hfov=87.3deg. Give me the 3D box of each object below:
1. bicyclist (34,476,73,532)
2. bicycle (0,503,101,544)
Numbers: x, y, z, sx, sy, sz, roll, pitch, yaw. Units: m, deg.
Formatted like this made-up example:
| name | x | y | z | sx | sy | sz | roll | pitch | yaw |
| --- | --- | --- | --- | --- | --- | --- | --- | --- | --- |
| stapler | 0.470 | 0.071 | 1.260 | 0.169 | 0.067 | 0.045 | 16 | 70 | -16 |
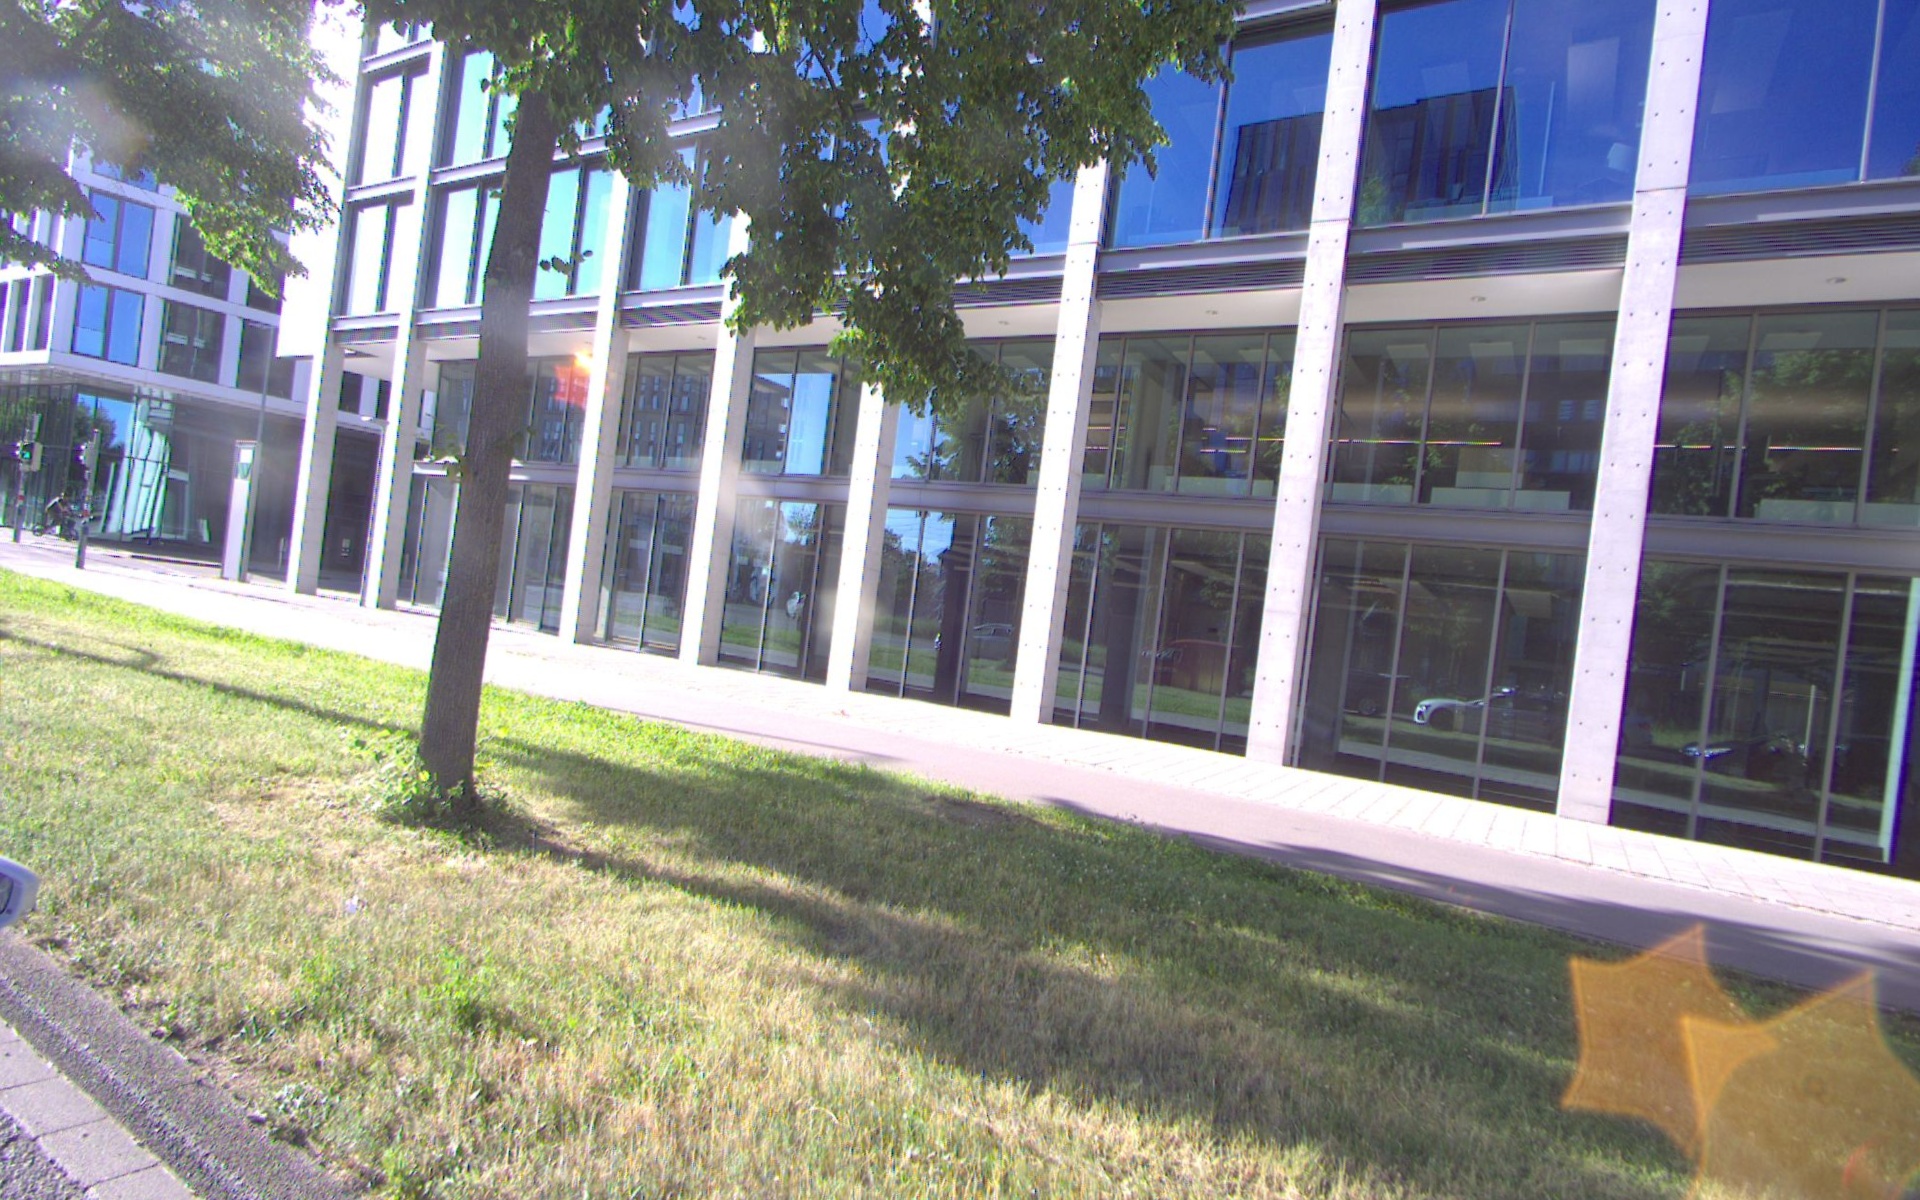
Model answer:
| name | x | y | z | sx | sy | sz | roll | pitch | yaw |
| --- | --- | --- | --- | --- | --- | --- | --- | --- | --- |
| bicyclist | -36.936 | -3.897 | 41.008 | 0.935 | 2.118 | 0.809 | 7 | 0 | -37 |
| bicycle | -37.023 | -3.090 | 41.010 | 2.928 | 1.204 | 0.809 | 8 | -1 | -38 |
